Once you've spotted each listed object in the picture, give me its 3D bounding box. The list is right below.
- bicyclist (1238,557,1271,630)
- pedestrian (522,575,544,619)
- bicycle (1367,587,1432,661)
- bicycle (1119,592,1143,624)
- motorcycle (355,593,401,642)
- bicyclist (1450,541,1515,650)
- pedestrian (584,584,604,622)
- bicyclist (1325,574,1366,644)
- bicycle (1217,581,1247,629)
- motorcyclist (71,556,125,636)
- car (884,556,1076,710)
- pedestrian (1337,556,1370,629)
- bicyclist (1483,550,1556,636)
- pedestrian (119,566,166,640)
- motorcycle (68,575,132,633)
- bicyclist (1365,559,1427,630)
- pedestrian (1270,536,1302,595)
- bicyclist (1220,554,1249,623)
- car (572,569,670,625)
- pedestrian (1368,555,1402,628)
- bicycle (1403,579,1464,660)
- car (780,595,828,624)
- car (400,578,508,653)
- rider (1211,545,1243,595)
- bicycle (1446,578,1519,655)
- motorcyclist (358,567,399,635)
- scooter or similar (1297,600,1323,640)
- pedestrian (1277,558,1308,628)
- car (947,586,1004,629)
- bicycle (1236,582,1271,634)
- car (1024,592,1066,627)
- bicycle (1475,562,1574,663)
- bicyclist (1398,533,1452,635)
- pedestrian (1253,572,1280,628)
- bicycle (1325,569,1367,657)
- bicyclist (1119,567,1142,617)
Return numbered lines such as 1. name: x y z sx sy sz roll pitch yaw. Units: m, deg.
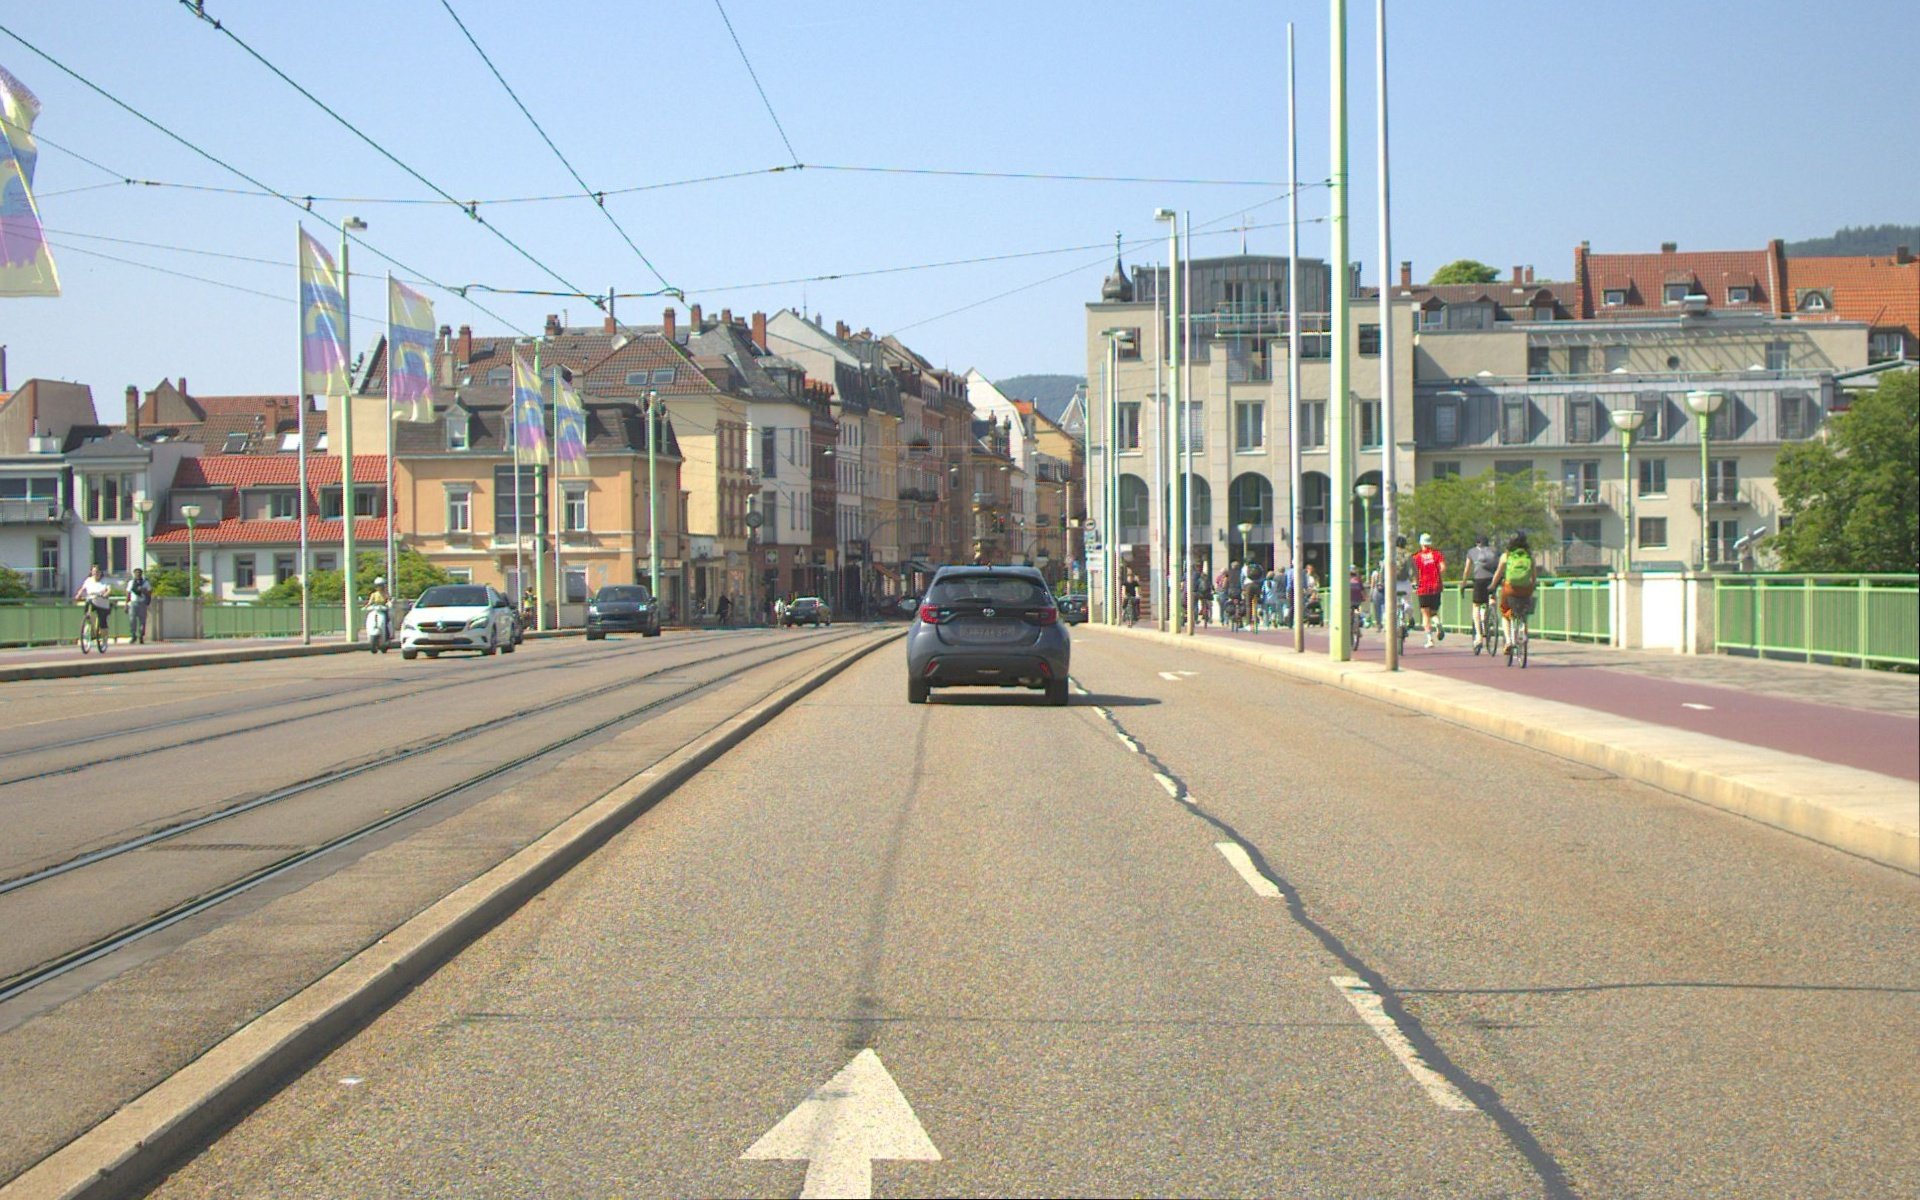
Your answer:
1. bicyclist: 6.778 -0.145 79.095 0.656 1.670 0.869 0 0 -2
2. pedestrian: -17.379 -0.128 140.006 0.763 1.780 0.663 0 0 3
3. bicycle: 6.398 0.339 50.115 0.618 1.034 2.051 0 1 -2
4. bicycle: 5.462 0.252 109.802 0.653 0.978 2.178 -2 0 1
5. motorcycle: -13.473 0.398 79.621 0.701 1.106 2.179 0 1 0
6. bicyclist: 7.291 -0.069 48.001 0.735 1.495 0.980 0 0 -2
7. pedestrian: -16.002 0.146 150.391 0.763 1.659 0.663 0 0 3
8. bicyclist: 6.134 0.139 54.696 0.599 1.098 0.852 0 0 10
9. bicycle: 6.685 0.118 84.580 0.526 1.174 2.029 0 1 -1
10. motorcyclist: -16.815 -0.073 67.077 0.800 1.544 1.069 0 0 0
11. car: 0.169 0.314 37.852 1.910 1.535 4.001 -1 1 -2
12. pedestrian: 8.524 -0.169 74.466 0.599 1.580 0.867 0 0 -2
13. bicyclist: 6.858 -0.093 42.171 0.666 1.041 0.980 0 0 -4
14. pedestrian: -19.263 0.060 81.035 0.830 1.716 1.094 0 0 0
15. motorcycle: -16.791 0.063 67.156 0.701 1.106 2.179 0 1 0
16. bicyclist: 6.366 -0.086 50.233 0.735 1.027 1.175 0 0 -2
17. pedestrian: 9.486 -1.012 100.020 0.834 1.683 0.869 -1 1 0
18. bicyclist: 6.731 -0.277 84.268 0.627 1.683 0.869 0 0 -1
19. car: -10.055 -0.105 102.223 1.994 1.594 4.337 0 1 7
20. pedestrian: 9.218 -0.185 74.509 0.599 1.580 0.867 0 0 -2
21. bicycle: 7.644 0.299 55.557 0.618 1.266 2.216 0 1 -2
22. car: -8.063 0.476 177.607 1.994 1.474 3.999 0 1 5
23. car: -9.979 0.277 68.081 1.993 1.404 4.548 0 1 -7
24. rider: 8.187 -0.919 105.270 0.889 1.499 0.841 0 0 -1
25. bicycle: 7.280 0.218 47.967 0.618 1.034 2.266 0 1 -2
26. motorcyclist: -13.481 0.014 79.715 0.827 1.568 0.832 0 0 0
27. scooter or similar: 9.384 0.535 92.285 0.588 1.066 0.865 0 0 -2
28. pedestrian: 8.624 -0.187 89.066 0.712 1.804 0.848 0 0 0
29. car: 0.542 0.268 124.440 1.803 1.464 4.000 -2 0 -3
30. bicycle: 6.779 0.183 79.388 0.593 1.174 1.940 0 1 -1
31. car: 3.830 0.410 154.515 1.804 1.464 4.000 -2 0 2
32. bicycle: 6.861 0.147 41.894 0.695 1.189 2.079 -1 0 -4
33. bicyclist: 7.531 -0.259 55.710 0.735 1.630 0.867 0 0 -2
34. pedestrian: 8.010 -0.008 89.795 0.613 1.460 0.848 0 0 0
35. bicycle: 6.134 0.199 54.579 0.534 1.362 2.215 0 1 10
36. bicyclist: 5.444 -0.250 109.879 0.653 1.561 1.337 -2 0 1
